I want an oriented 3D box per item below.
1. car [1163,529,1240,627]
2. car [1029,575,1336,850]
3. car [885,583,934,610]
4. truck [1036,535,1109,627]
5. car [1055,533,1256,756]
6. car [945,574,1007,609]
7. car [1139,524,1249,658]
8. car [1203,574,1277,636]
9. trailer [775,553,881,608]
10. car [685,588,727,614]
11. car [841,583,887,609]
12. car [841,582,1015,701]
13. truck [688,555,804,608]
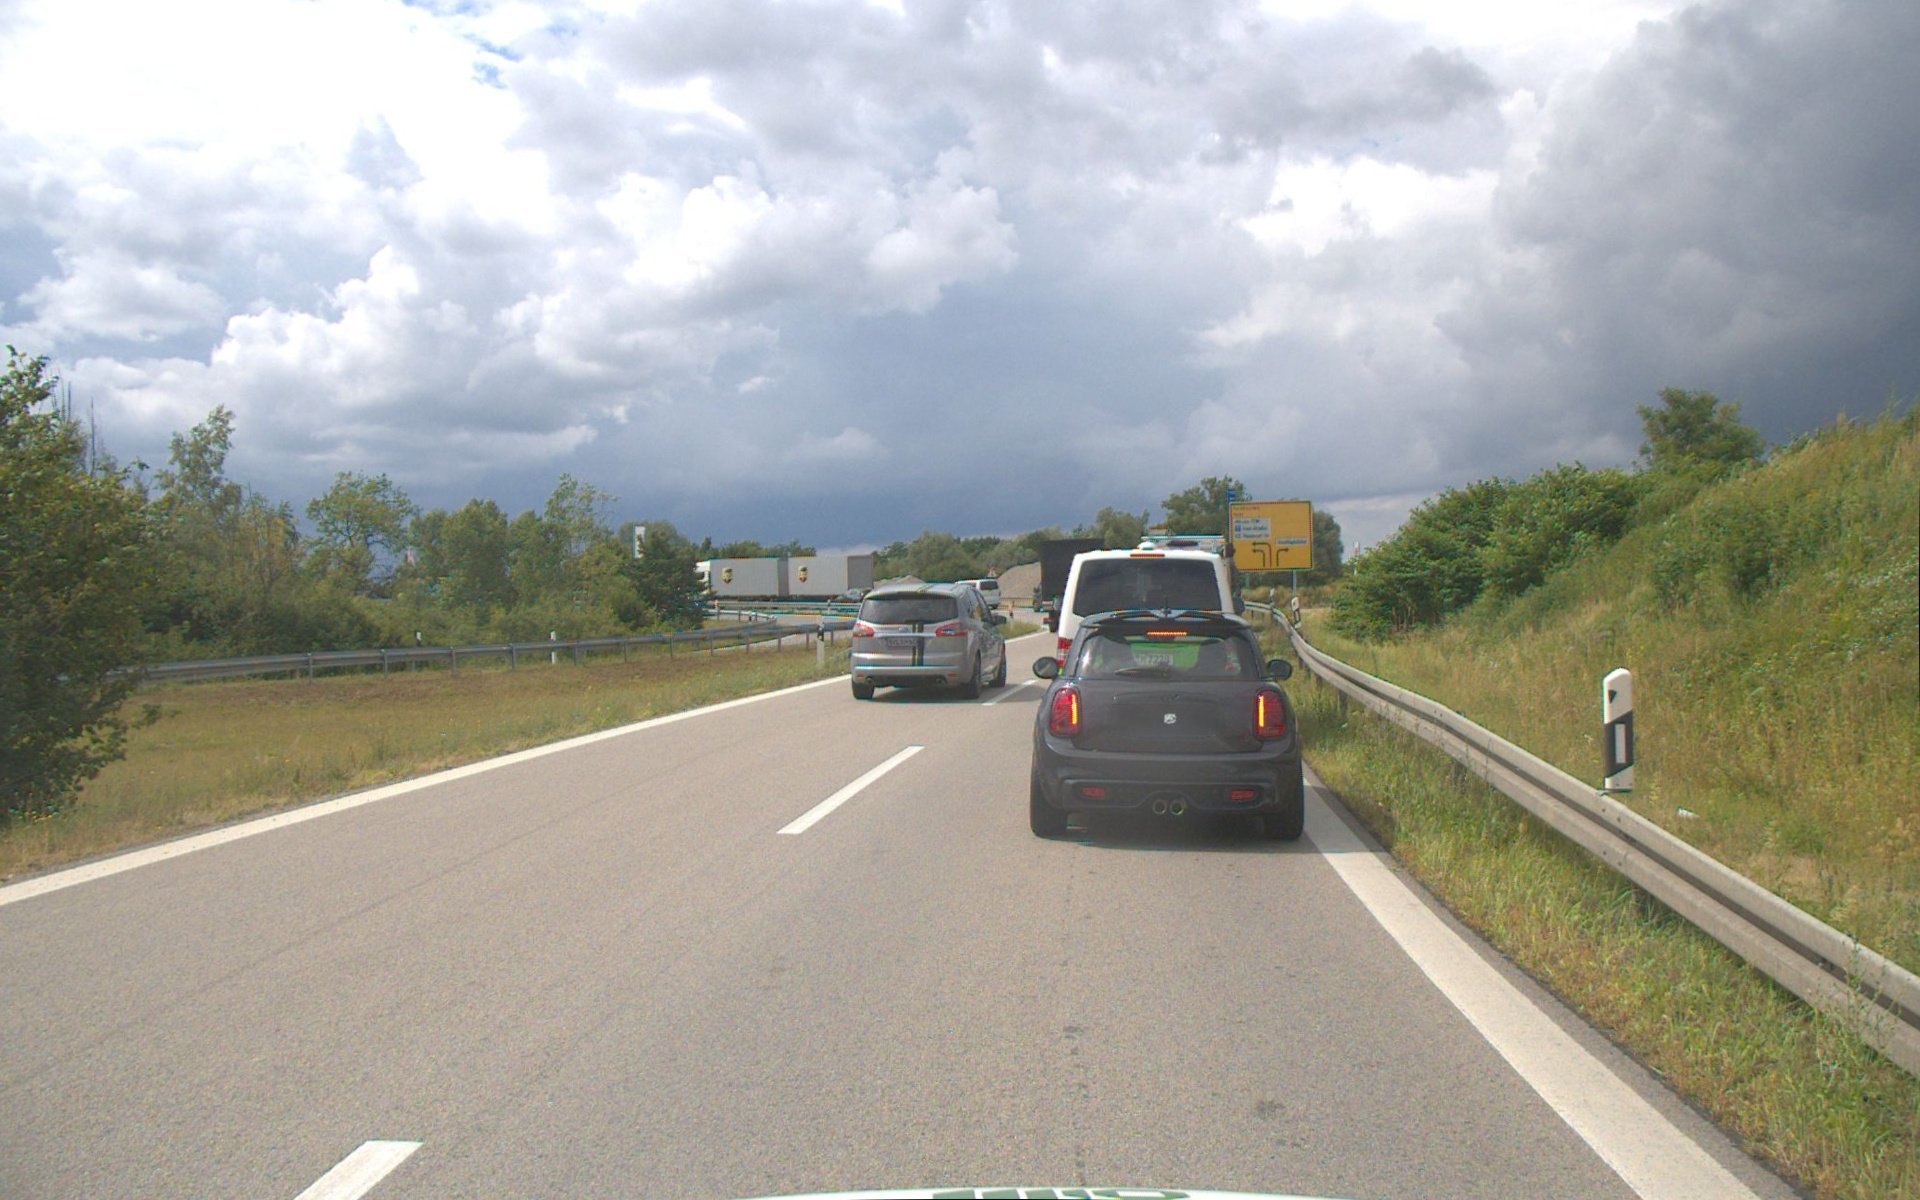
[{"bbox_3d":[8.355,-0.674,56.738,2.261,3.122,6.667,1,-1,11],"label":"car"},{"bbox_3d":[1.439,0.653,11.490,1.762,1.573,3.740,1,0,4],"label":"car"},{"bbox_3d":[-3.705,-0.263,119.839,1.899,1.870,4.278,1,-1,-27],"label":"car"},{"bbox_3d":[4.227,-0.631,62.129,2.506,3.223,7.471,1,-1,4],"label":"truck"},{"bbox_3d":[2.100,0.424,17.665,1.870,2.081,4.184,0,0,7],"label":"car"},{"bbox_3d":[1.053,-0.547,112.369,2.261,2.300,5.066,1,-1,-25],"label":"car"},{"bbox_3d":[5.077,-0.147,35.983,2.164,2.668,5.538,1,-1,8],"label":"car"},{"bbox_3d":[8.027,0.167,47.661,1.951,1.671,3.931,1,-1,8],"label":"car"},{"bbox_3d":[-10.087,-1.430,125.595,8.624,3.966,3.025,0,-1,44],"label":"trailer"},{"bbox_3d":[-17.494,0.060,113.914,1.738,1.621,3.966,-2,-1,-26],"label":"car"},{"bbox_3d":[-6.832,-0.250,117.776,1.791,1.786,3.964,1,-1,-27],"label":"car"},{"bbox_3d":[-0.373,0.598,24.935,1.978,1.605,4.590,-1,-1,7],"label":"car"},{"bbox_3d":[-17.068,-1.462,131.521,9.829,4.046,2.834,0,-1,36],"label":"truck"}]
